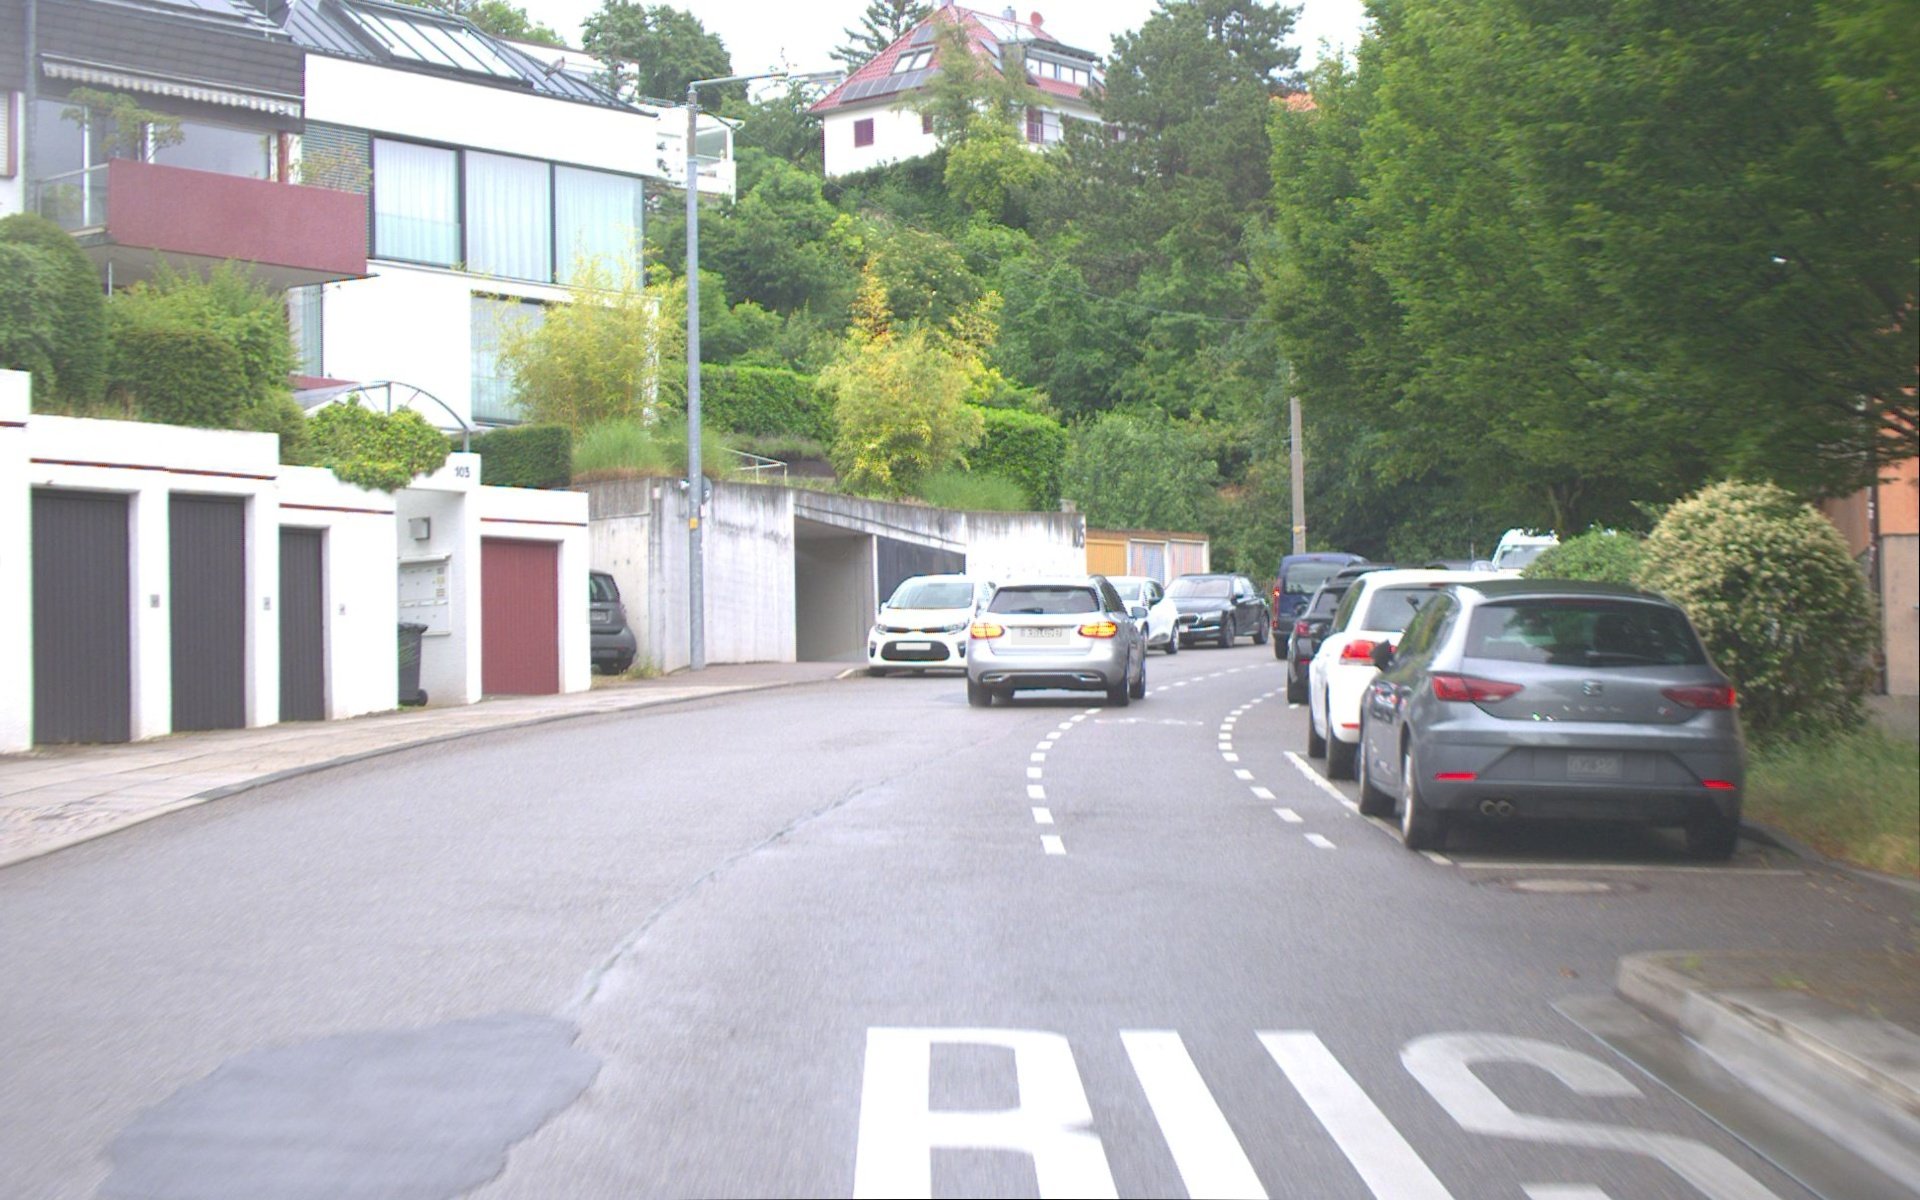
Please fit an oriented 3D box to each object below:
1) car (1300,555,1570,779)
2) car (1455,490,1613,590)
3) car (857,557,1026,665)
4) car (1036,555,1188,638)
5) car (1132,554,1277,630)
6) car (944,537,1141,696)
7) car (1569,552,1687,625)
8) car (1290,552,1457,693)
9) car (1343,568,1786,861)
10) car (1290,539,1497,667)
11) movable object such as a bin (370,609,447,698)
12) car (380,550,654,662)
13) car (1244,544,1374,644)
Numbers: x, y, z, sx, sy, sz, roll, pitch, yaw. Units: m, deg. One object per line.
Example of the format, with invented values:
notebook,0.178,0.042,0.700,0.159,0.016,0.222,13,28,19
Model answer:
car,3.459,0.429,25.612,1.657,1.484,4.000,1,1,3
car,15.556,-1.654,92.841,2.098,2.541,6.087,-1,1,31
car,-0.238,0.139,51.422,1.628,1.510,3.830,-1,1,14
car,2.823,-0.088,63.079,1.834,1.435,4.037,-1,1,17
car,4.968,-0.186,69.315,1.714,1.454,4.678,-1,1,20
car,0.997,0.150,39.048,2.025,1.702,4.215,0,1,4
car,14.264,-0.259,73.315,1.670,1.466,3.705,2,2,23
car,4.996,0.223,41.183,1.855,1.575,4.856,0,1,8
car,3.279,0.553,19.487,1.878,1.412,4.467,0,1,2
car,6.019,0.006,47.173,2.055,1.650,5.232,0,1,16
movable object such as a bin,-6.108,0.589,38.103,0.544,0.960,0.644,1,1,39
car,-6.431,0.061,49.674,3.928,1.473,1.763,2,2,41
car,6.197,-0.126,60.680,1.994,1.702,3.998,0,1,10
